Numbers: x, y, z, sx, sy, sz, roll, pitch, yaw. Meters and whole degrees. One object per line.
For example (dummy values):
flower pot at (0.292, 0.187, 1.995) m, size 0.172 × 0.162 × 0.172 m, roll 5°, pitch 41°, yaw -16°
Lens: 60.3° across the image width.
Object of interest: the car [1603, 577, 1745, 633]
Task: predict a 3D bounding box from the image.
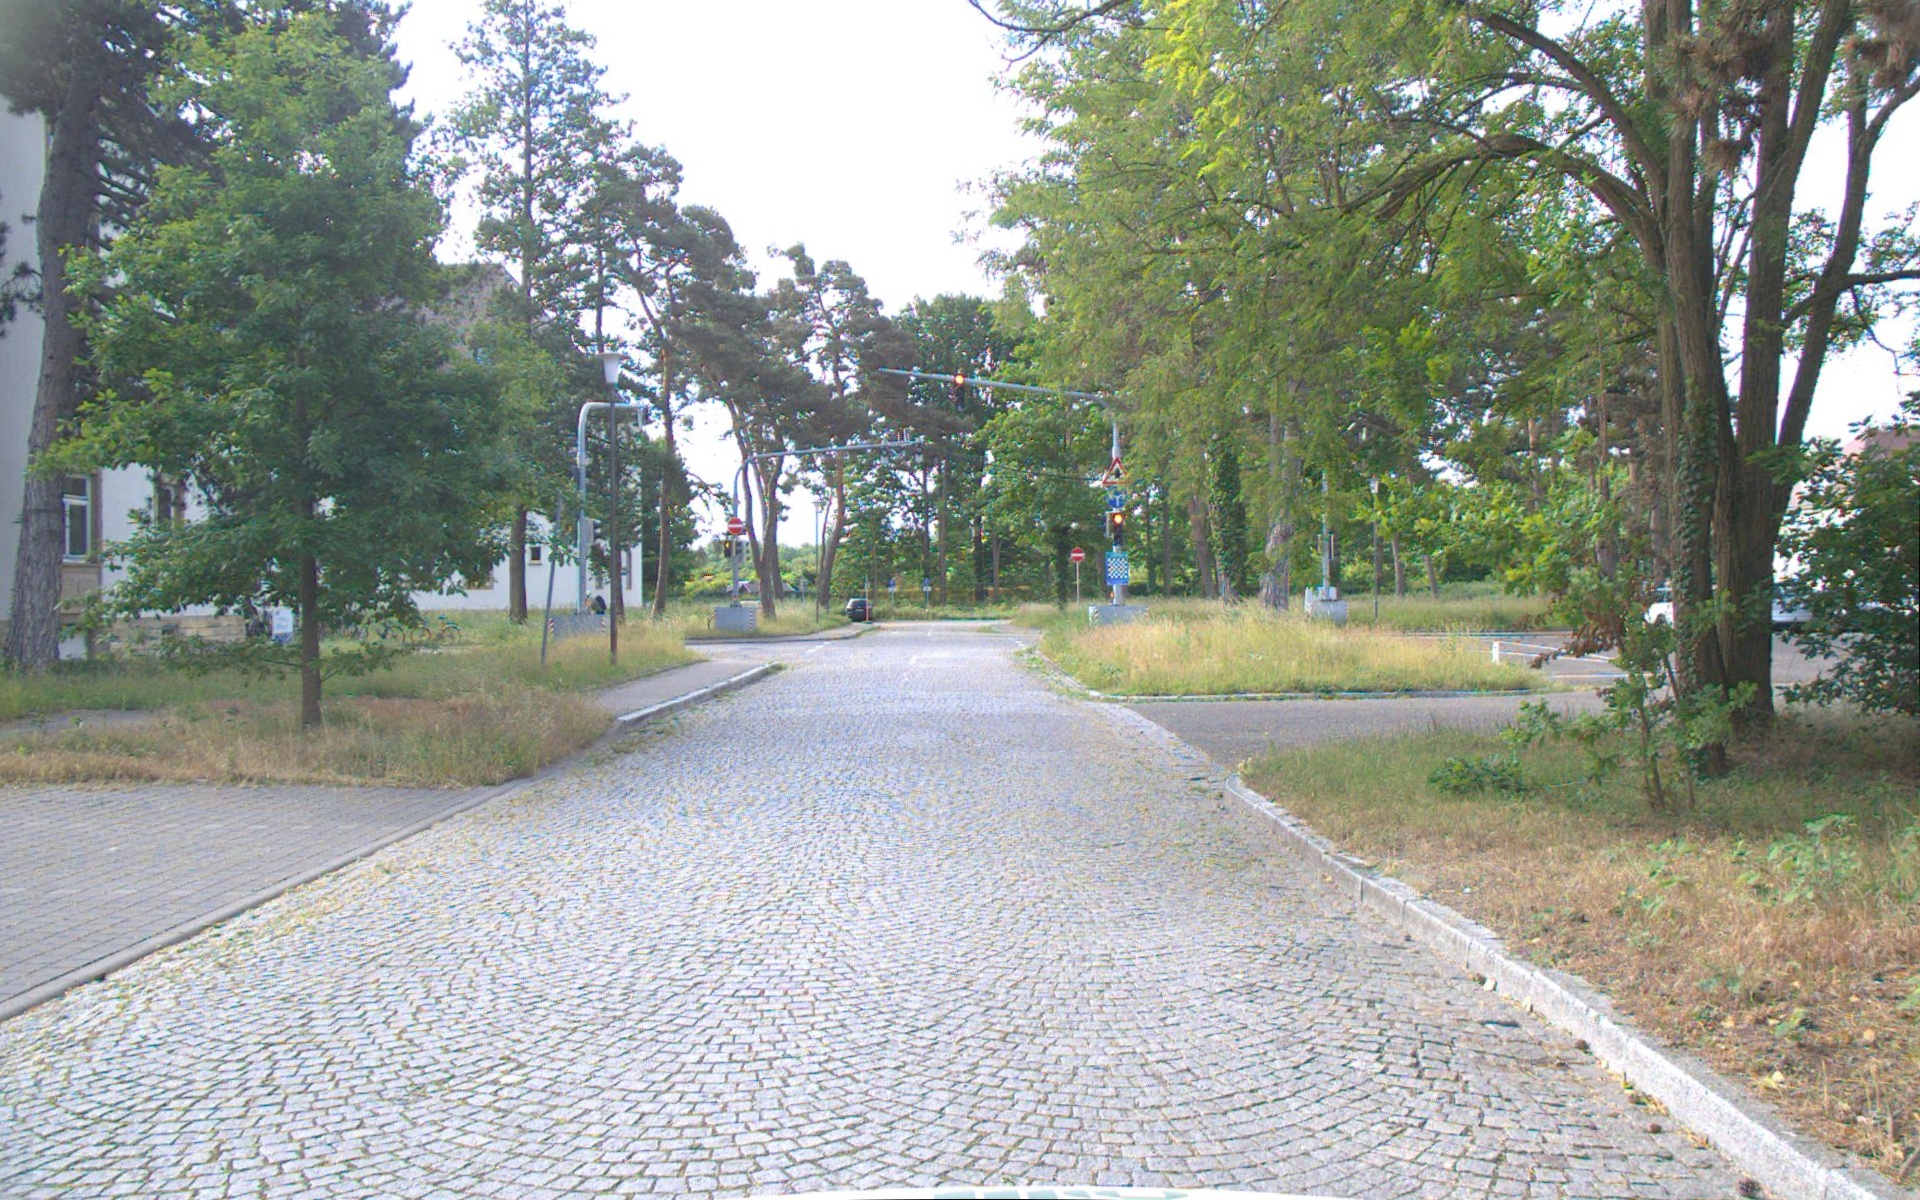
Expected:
car at (20.677, 0.171, 48.090) m, size 1.954 × 1.507 × 4.421 m, roll -1°, pitch -1°, yaw -4°

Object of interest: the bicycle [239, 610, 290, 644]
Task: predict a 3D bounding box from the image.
bicycle at (-22.984, 0.878, 54.707) m, size 0.721 × 1.095 × 2.273 m, roll -1°, pitch 0°, yaw 0°

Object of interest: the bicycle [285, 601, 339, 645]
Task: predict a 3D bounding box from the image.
bicycle at (-21.570, 0.754, 55.113) m, size 0.721 × 1.410 × 2.711 m, roll -1°, pitch 0°, yaw 0°

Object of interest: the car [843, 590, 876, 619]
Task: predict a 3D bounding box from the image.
car at (-6.754, 0.275, 111.191) m, size 2.014 × 1.878 × 3.999 m, roll -1°, pitch 0°, yaw -2°

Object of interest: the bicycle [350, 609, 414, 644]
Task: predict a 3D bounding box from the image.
bicycle at (-18.731, 0.859, 53.631) m, size 1.818 × 1.095 × 0.738 m, roll -1°, pitch 0°, yaw 1°

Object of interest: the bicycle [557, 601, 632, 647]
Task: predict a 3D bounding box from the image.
bicycle at (-11.542, 0.740, 52.276) m, size 2.154 × 1.411 × 0.930 m, roll -1°, pitch 0°, yaw -29°

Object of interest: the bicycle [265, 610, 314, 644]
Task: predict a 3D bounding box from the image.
bicycle at (-22.357, 0.896, 55.210) m, size 0.721 × 1.095 × 2.273 m, roll -1°, pitch 0°, yaw 0°

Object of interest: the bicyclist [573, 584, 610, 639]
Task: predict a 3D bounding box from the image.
bicyclist at (-11.637, 0.362, 52.223) m, size 0.910 × 1.727 × 0.948 m, roll 0°, pitch -1°, yaw -28°

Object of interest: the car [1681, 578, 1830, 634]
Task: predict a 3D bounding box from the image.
car at (23.142, 0.204, 48.308) m, size 1.954 × 1.507 × 4.421 m, roll -1°, pitch -1°, yaw -4°

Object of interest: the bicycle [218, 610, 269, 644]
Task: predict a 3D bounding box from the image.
bicycle at (-23.704, 0.883, 54.768) m, size 0.721 × 1.095 × 2.273 m, roll -1°, pitch 0°, yaw 0°

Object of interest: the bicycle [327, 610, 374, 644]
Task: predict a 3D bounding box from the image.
bicycle at (-20.206, 0.883, 54.859) m, size 0.721 × 1.095 × 2.273 m, roll -1°, pitch 0°, yaw 0°

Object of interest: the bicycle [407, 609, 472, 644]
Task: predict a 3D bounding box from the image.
bicycle at (-16.881, 0.849, 53.699) m, size 1.818 × 1.095 × 0.831 m, roll -1°, pitch 0°, yaw 1°

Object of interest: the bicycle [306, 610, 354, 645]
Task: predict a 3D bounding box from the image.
bicycle at (-20.835, 0.897, 54.769) m, size 0.721 × 1.095 × 2.273 m, roll -1°, pitch 0°, yaw 0°
